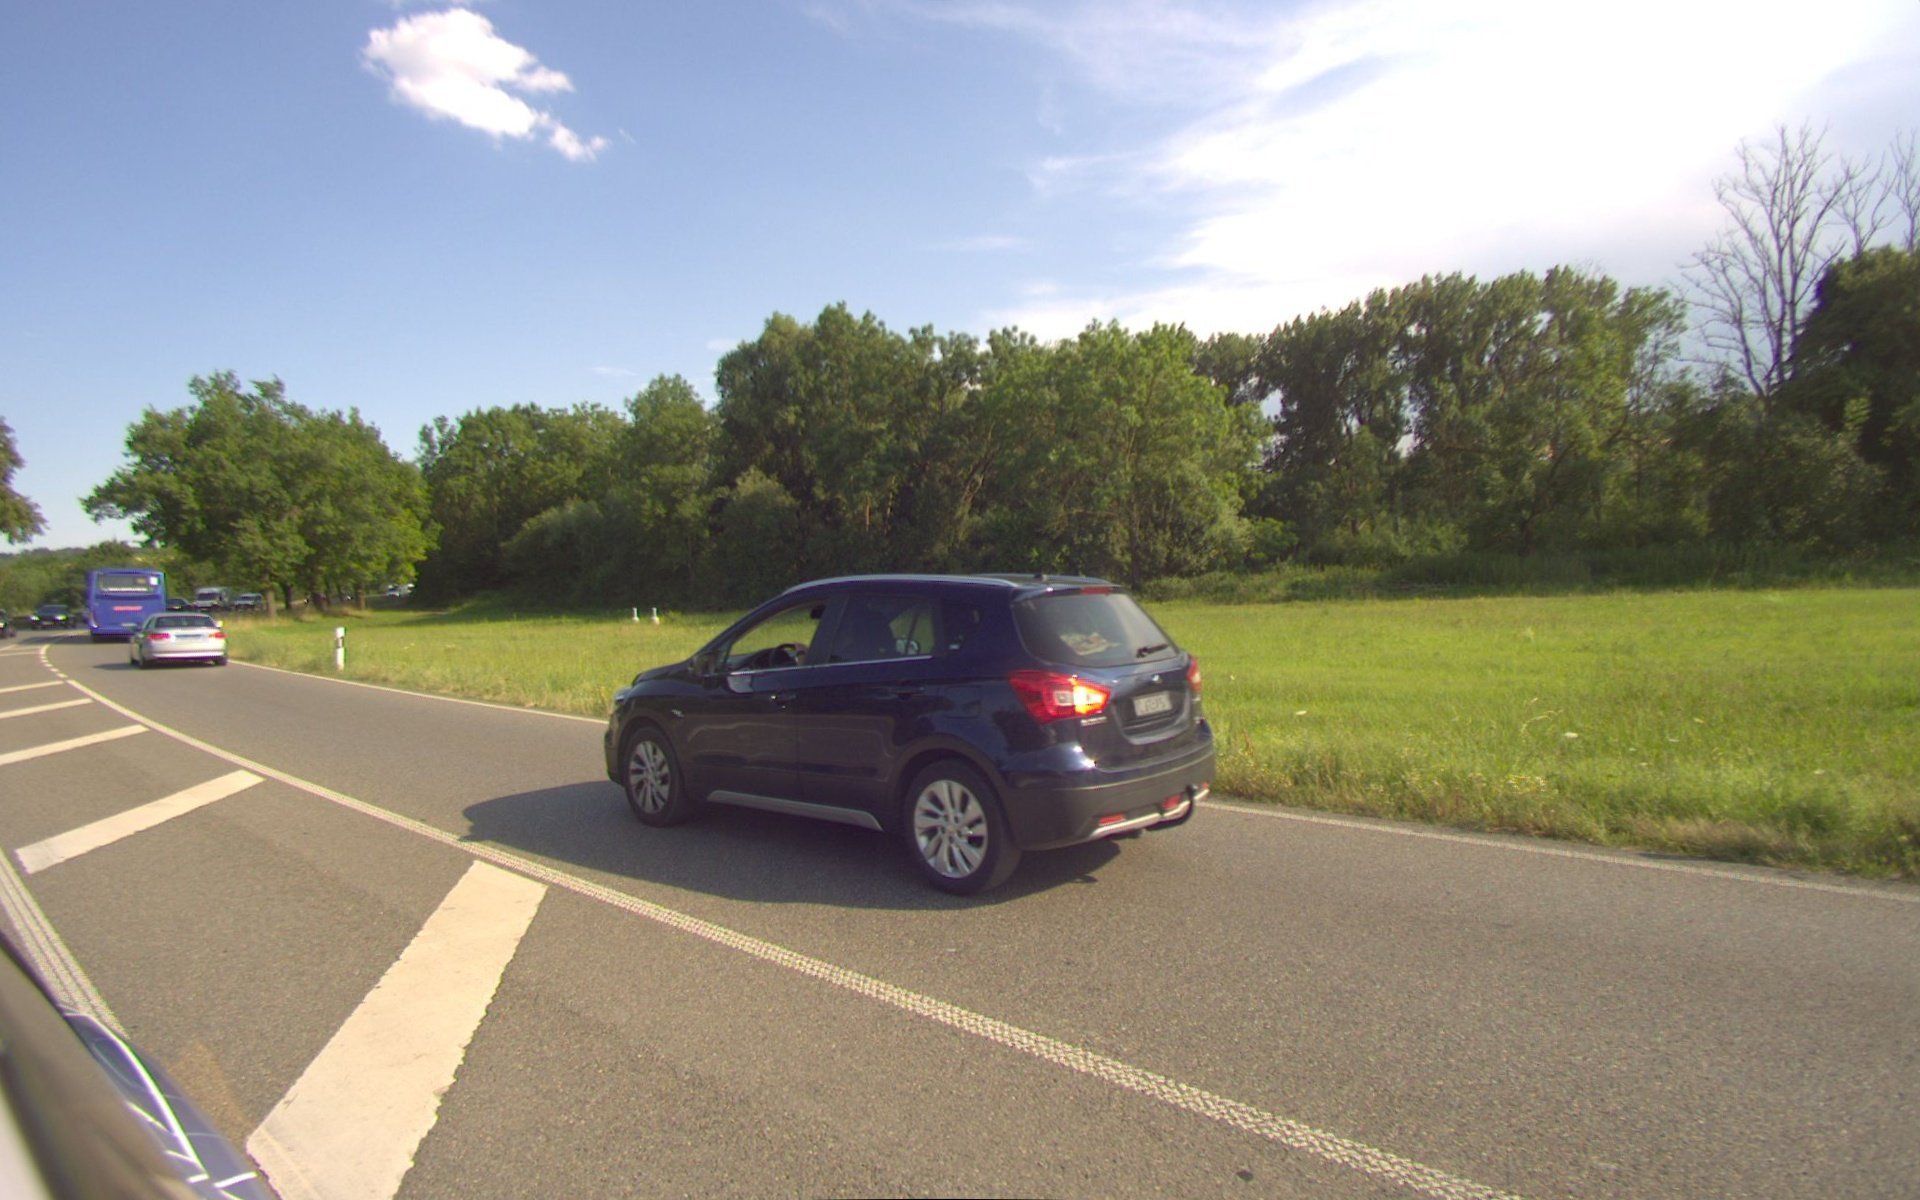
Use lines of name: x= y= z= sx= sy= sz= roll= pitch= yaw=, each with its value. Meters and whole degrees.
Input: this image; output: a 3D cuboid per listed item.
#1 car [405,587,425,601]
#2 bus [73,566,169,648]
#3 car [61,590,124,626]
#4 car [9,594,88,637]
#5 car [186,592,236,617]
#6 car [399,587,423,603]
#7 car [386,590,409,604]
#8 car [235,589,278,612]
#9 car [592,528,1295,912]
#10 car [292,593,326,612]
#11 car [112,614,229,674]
car: x=-103.289 y=-1.135 z=191.803 sx=2.055 sy=2.435 sz=5.155 roll=-1 pitch=1 yaw=-12
bus: x=-38.110 y=0.215 z=45.756 sx=2.760 sy=3.205 sz=12.142 roll=-2 pitch=2 yaw=-42
car: x=-64.473 y=0.546 z=75.342 sx=2.054 sy=2.435 sz=5.159 roll=-2 pitch=2 yaw=-23
car: x=-56.558 y=0.915 z=62.906 sx=2.054 sy=2.435 sz=5.159 roll=-2 pitch=2 yaw=-23
car: x=-75.594 y=0.420 z=102.184 sx=2.055 sy=2.435 sz=5.155 roll=-1 pitch=1 yaw=-12
car: x=-91.294 y=-0.818 z=168.360 sx=2.055 sy=2.435 sz=5.155 roll=-1 pitch=1 yaw=-12
car: x=-99.040 y=-0.574 z=178.222 sx=2.055 sy=2.435 sz=5.155 roll=-1 pitch=1 yaw=-12
car: x=-77.731 y=0.023 z=111.920 sx=2.055 sy=2.435 sz=5.155 roll=-1 pitch=1 yaw=-12
car: x=-0.341 y=0.546 z=6.110 sx=4.148 sy=1.564 sz=1.678 roll=-2 pitch=-2 yaw=40
car: x=-88.121 y=0.307 z=137.045 sx=2.055 sy=2.435 sz=5.155 roll=-1 pitch=1 yaw=-12
car: x=-20.502 y=1.079 z=26.206 sx=4.750 sy=1.344 sz=1.681 roll=0 pitch=1 yaw=43
